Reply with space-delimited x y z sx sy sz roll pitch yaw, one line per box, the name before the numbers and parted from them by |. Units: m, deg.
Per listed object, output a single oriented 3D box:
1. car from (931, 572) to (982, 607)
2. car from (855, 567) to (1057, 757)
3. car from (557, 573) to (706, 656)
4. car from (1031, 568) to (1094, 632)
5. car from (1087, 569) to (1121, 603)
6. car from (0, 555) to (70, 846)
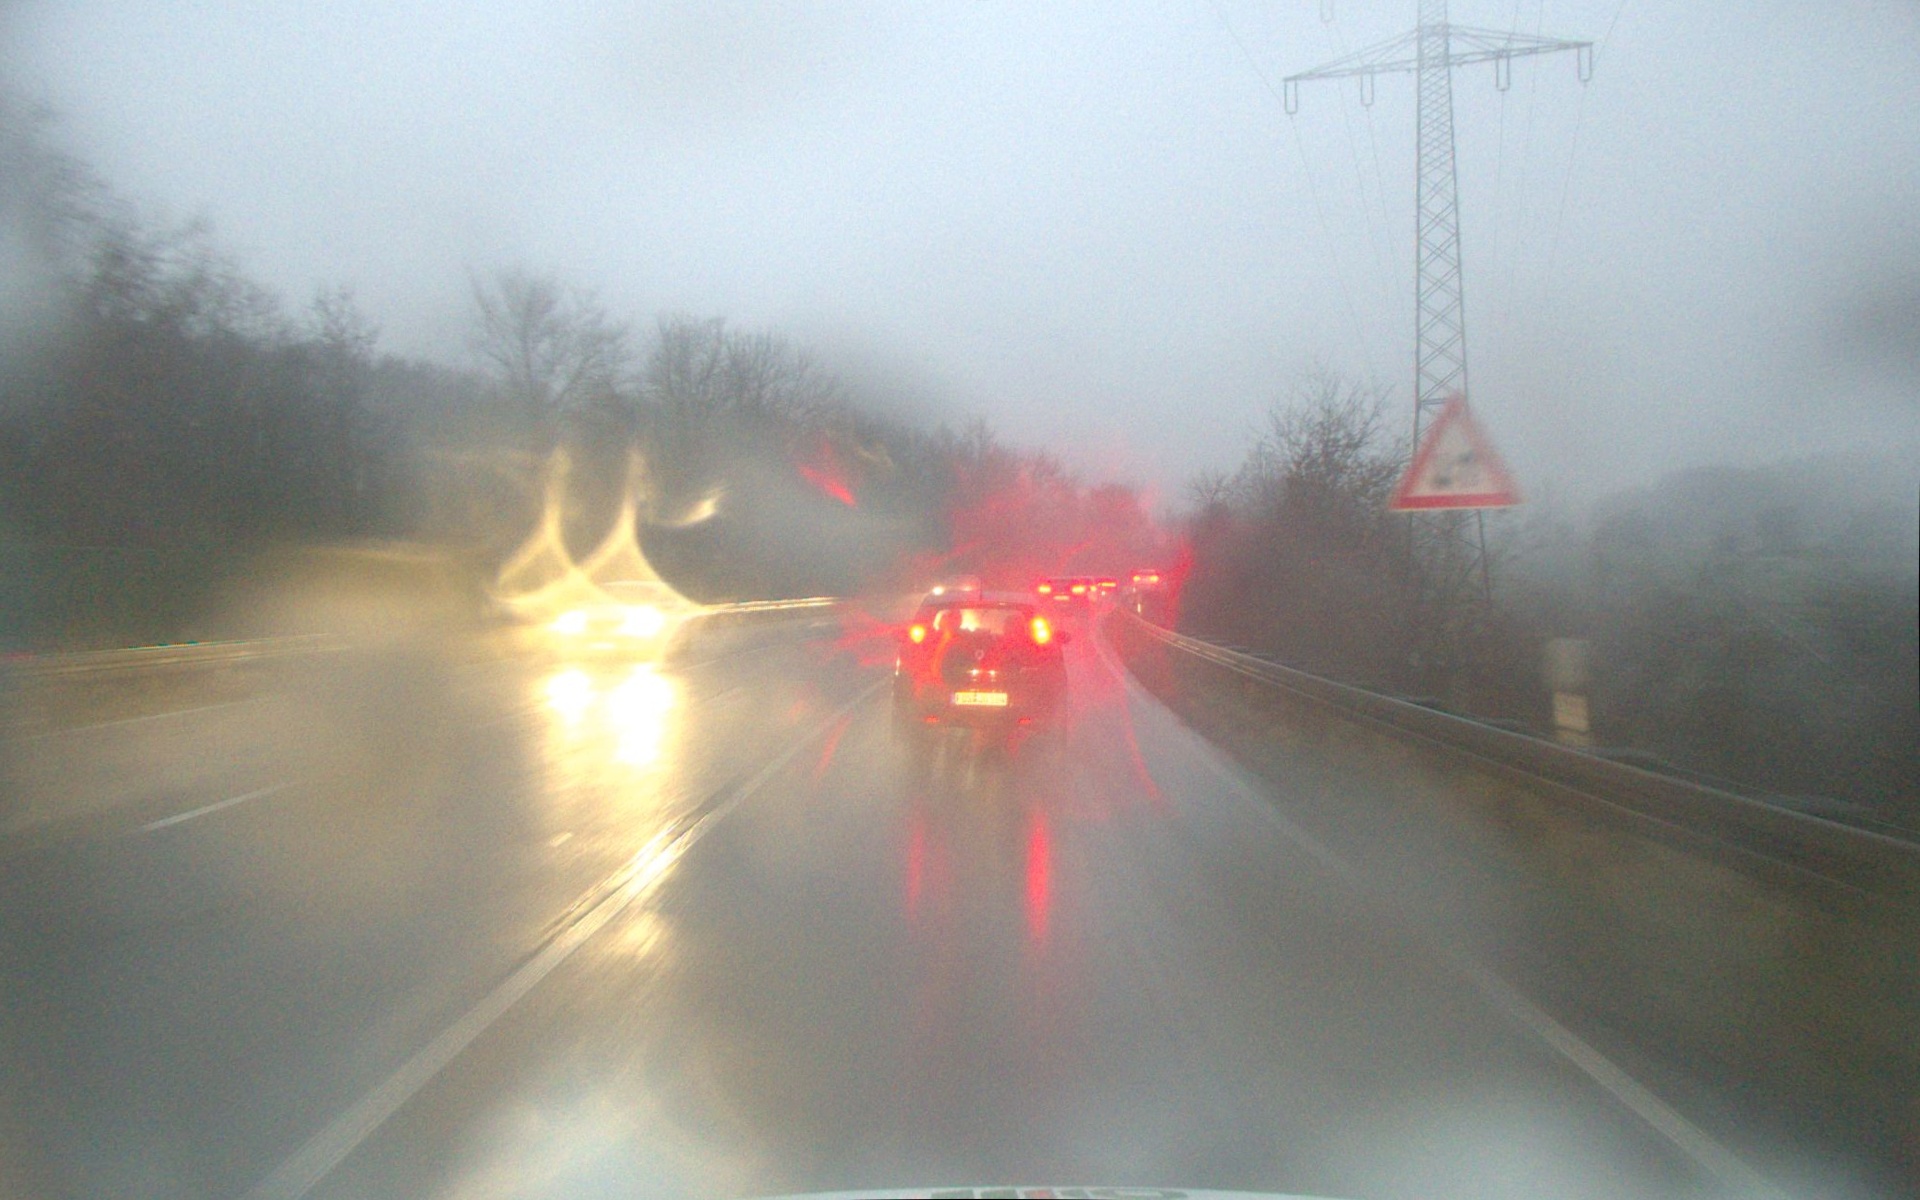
car | -0.128 -0.485 75.415 1.824 1.527 4.525 -1 1 6
car | -0.016 0.513 16.754 1.695 1.559 4.043 -4 1 0
car | -6.389 0.255 32.651 1.952 1.516 4.383 0 0 1
car | 3.422 -0.023 55.932 1.906 2.049 4.001 -1 0 1
car | 8.246 -0.820 94.731 1.905 1.774 4.004 -1 3 5
car | -6.267 0.560 7.687 1.849 1.617 4.382 0 0 1
